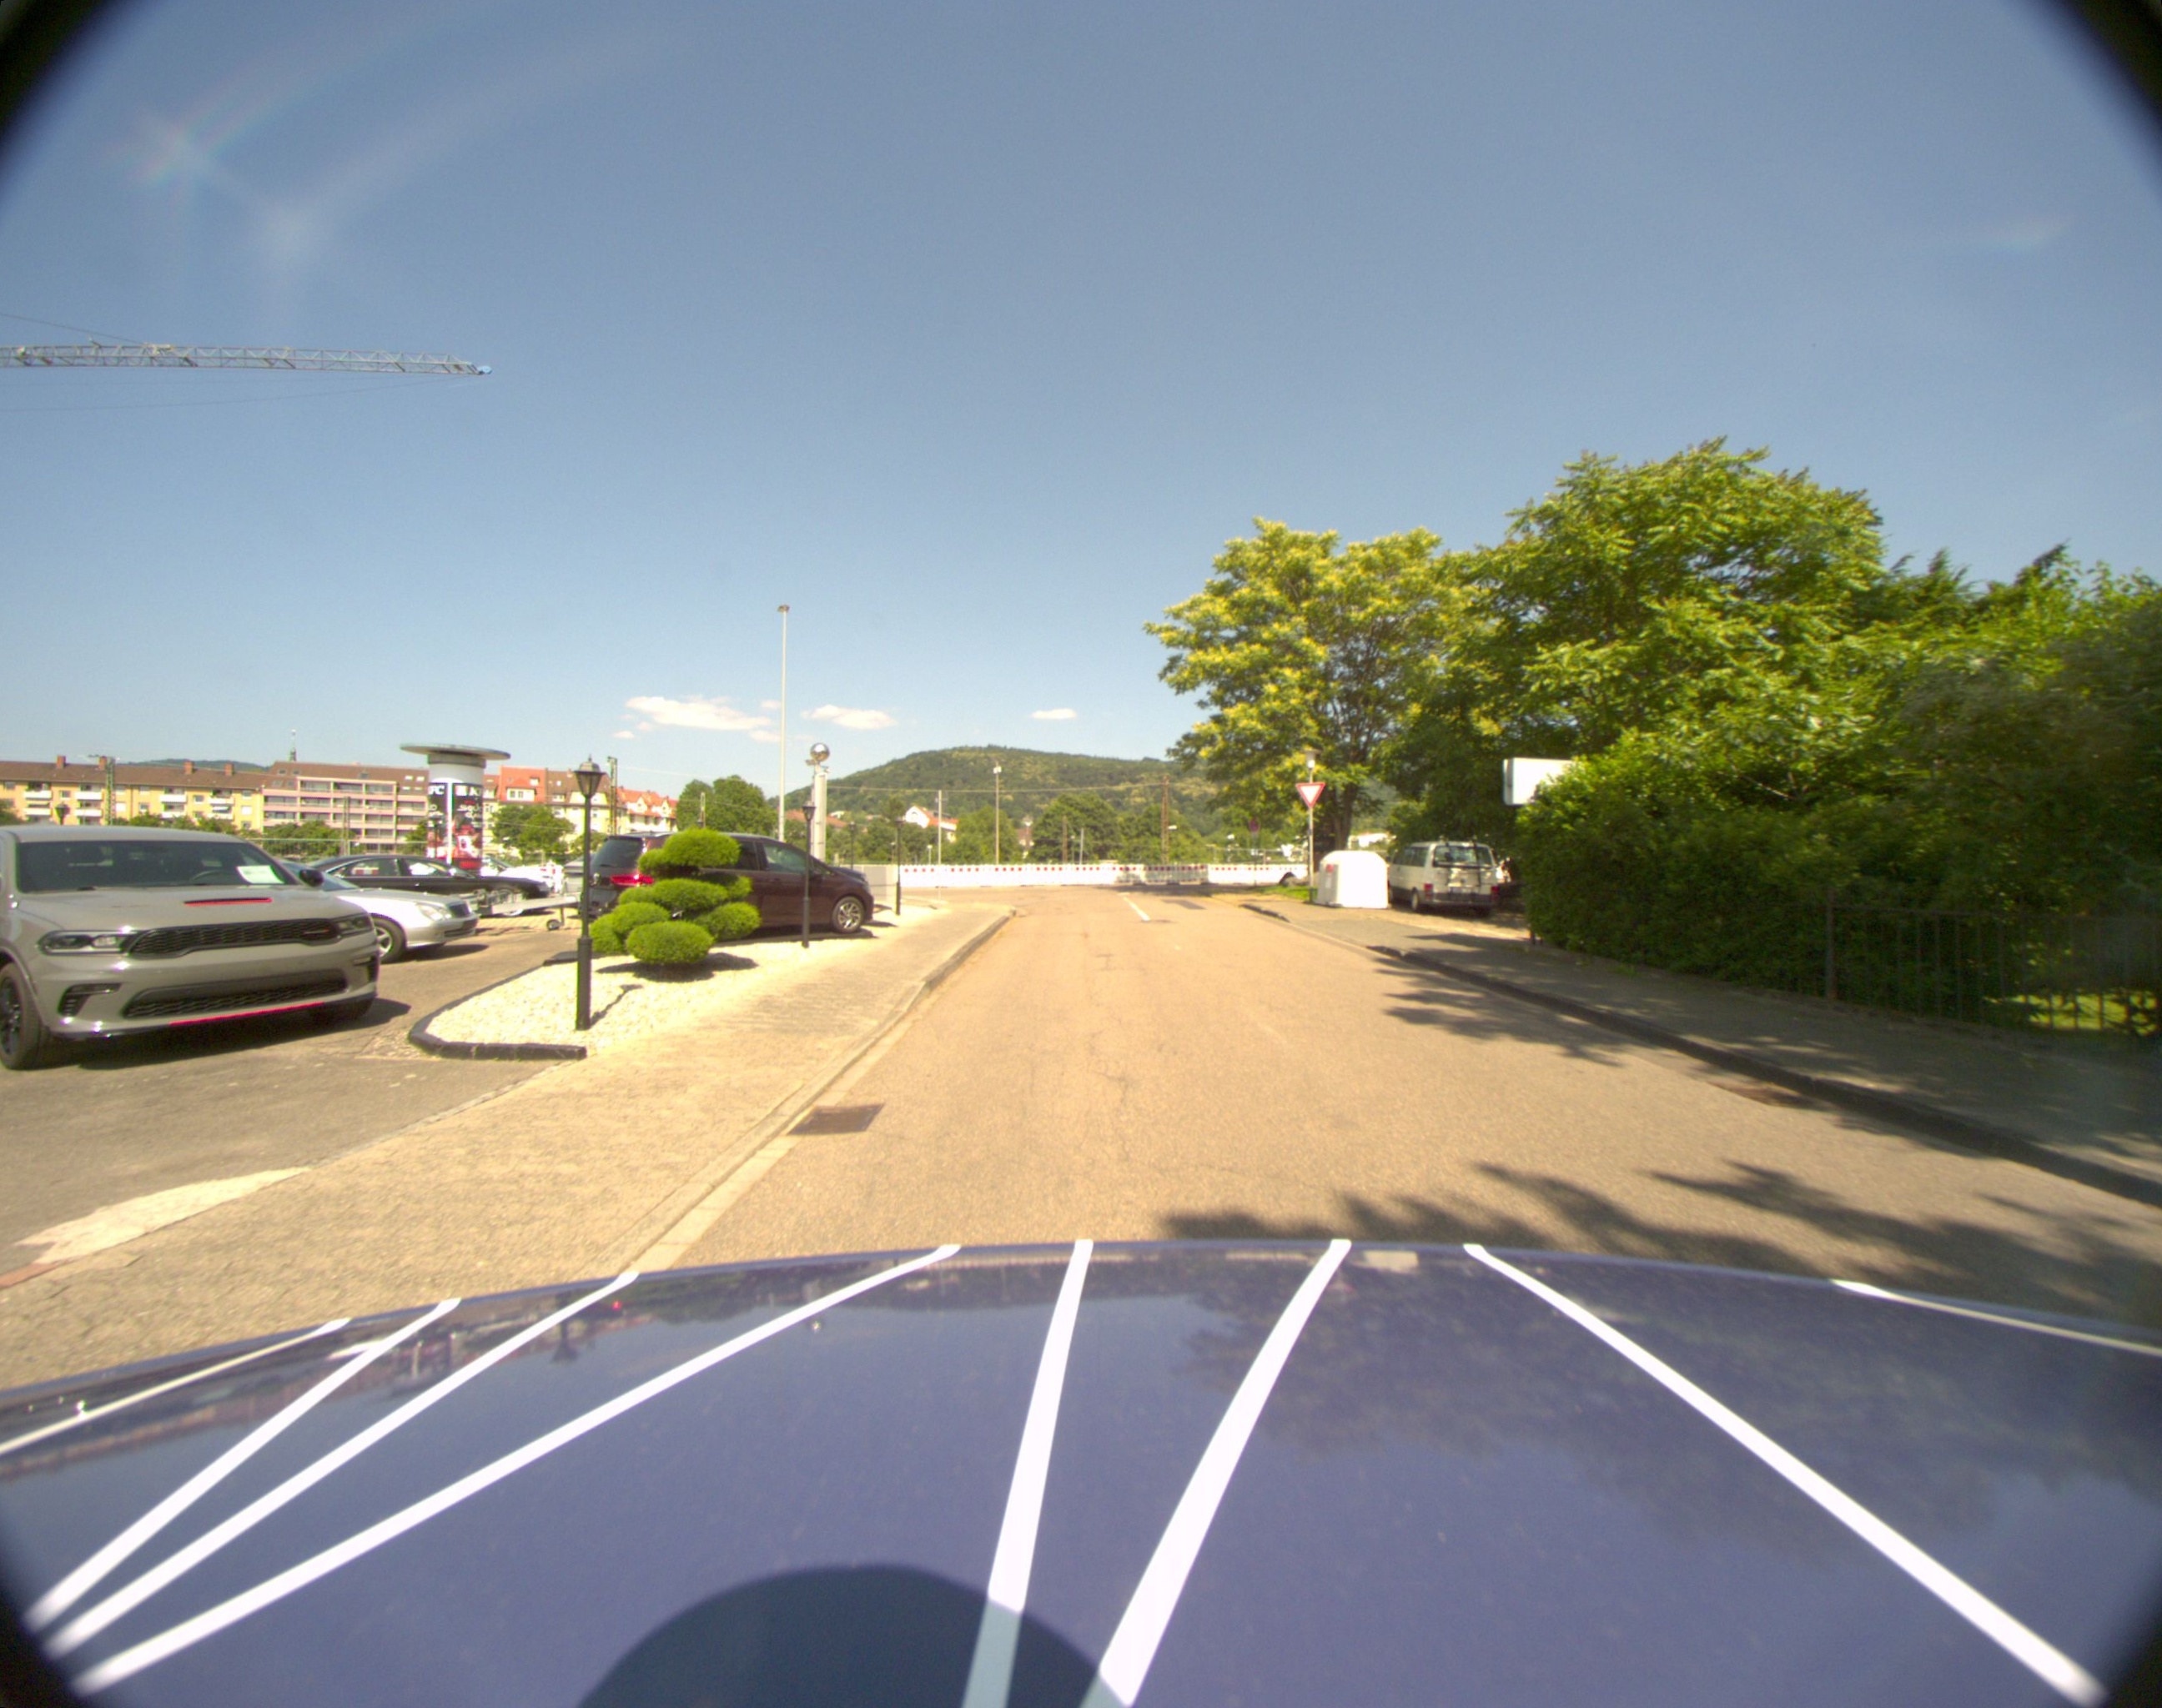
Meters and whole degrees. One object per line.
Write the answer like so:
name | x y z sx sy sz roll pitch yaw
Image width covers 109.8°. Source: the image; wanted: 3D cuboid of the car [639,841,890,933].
car | -6.930 0.623 17.119 2.011 1.769 4.828 0 0 39

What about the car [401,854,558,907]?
car | -19.973 0.824 25.470 4.007 1.630 1.995 0 0 -35

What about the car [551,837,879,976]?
car | -5.515 0.659 11.988 1.847 1.772 4.300 1 1 36

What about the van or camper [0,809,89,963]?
van or camper | -18.548 0.491 10.510 5.512 2.248 2.108 -1 0 -23

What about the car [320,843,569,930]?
car | -13.975 0.638 16.853 1.855 1.696 4.009 0 0 42

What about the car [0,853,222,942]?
car | -19.001 0.752 14.260 1.642 1.541 3.768 0 0 40

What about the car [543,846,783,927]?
car | -9.905 0.675 18.513 2.012 1.682 4.826 0 0 27

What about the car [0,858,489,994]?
car | -10.936 0.833 10.305 4.212 1.525 1.921 0 1 -23

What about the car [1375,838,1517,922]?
car | 9.773 0.568 20.875 1.997 1.920 5.102 2 2 8

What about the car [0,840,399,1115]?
car | -8.593 0.787 6.714 4.984 1.752 1.929 0 0 24
